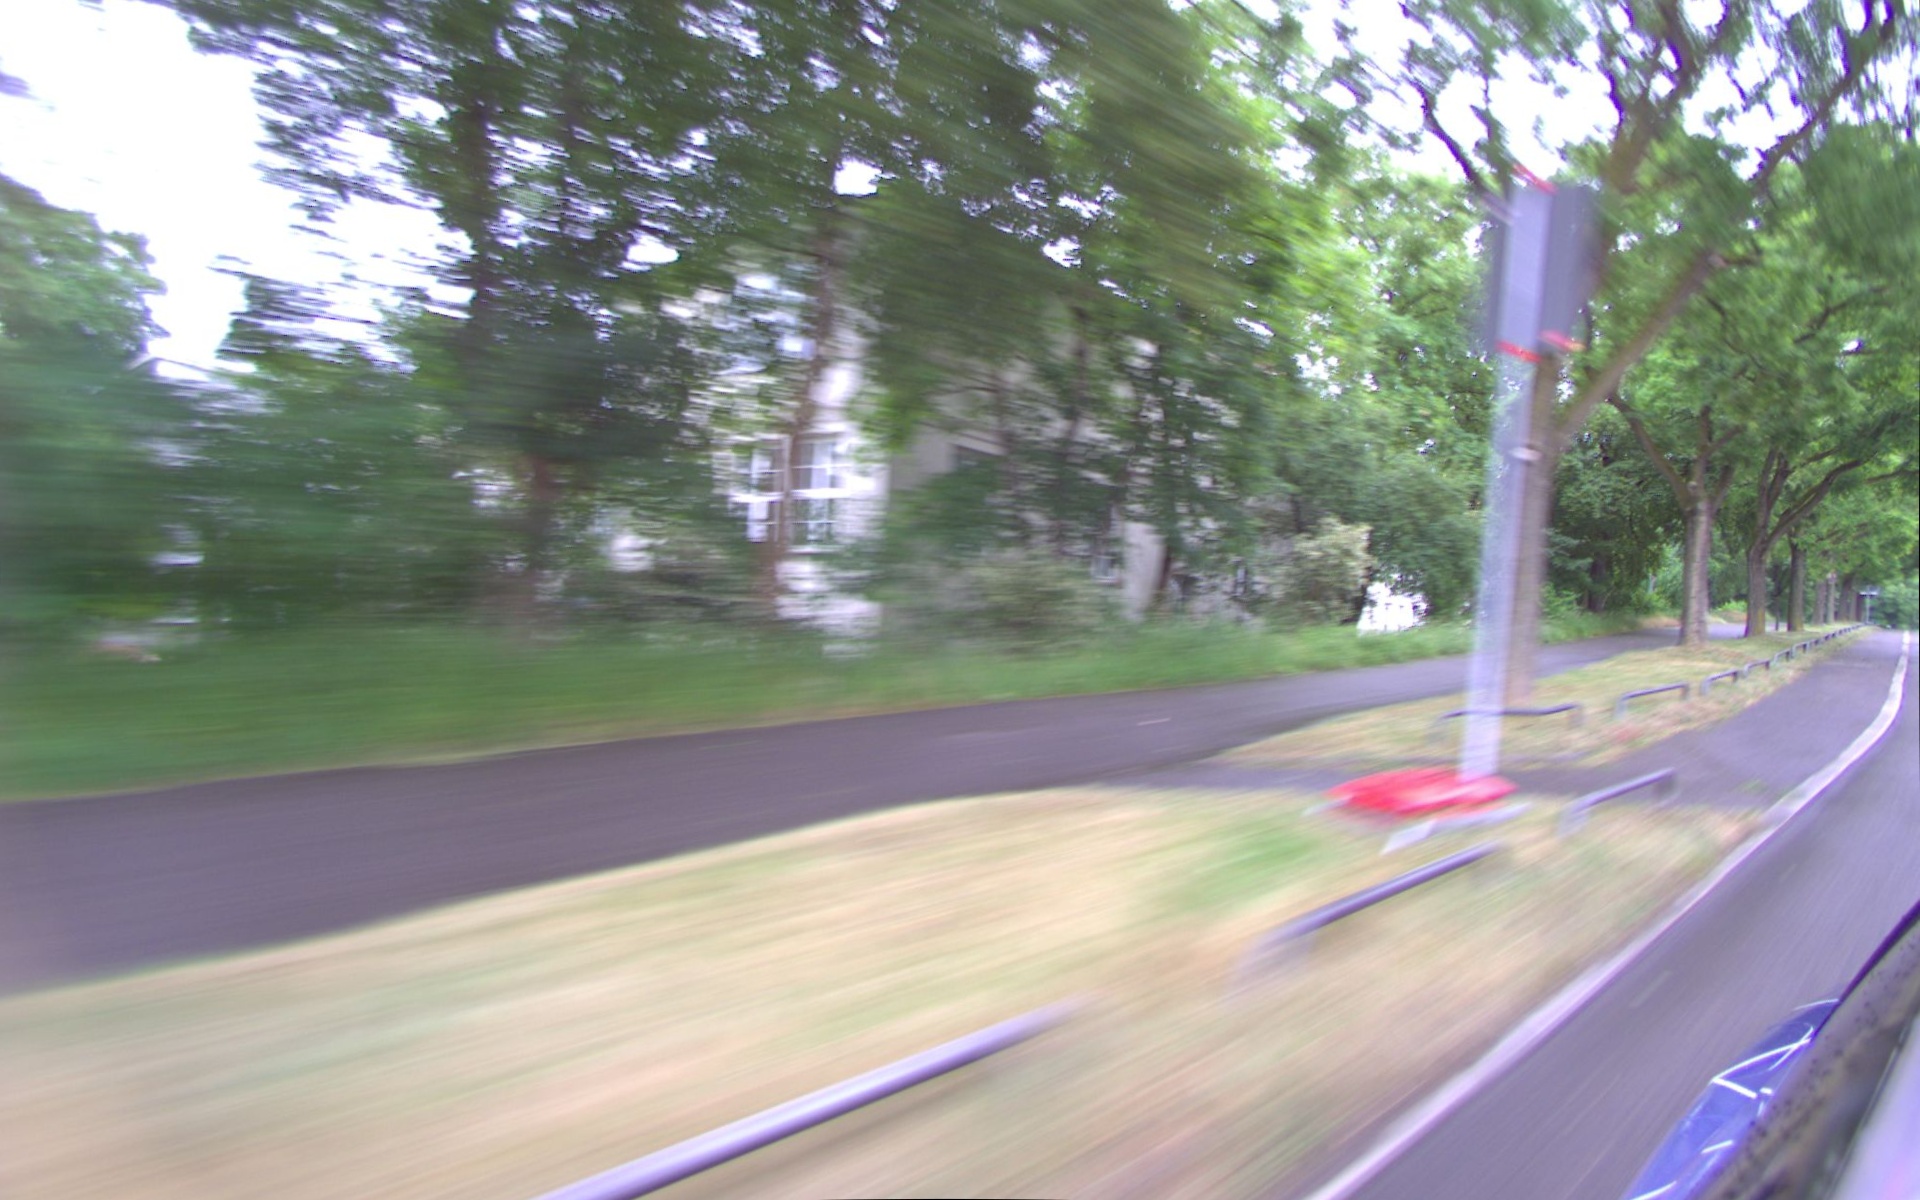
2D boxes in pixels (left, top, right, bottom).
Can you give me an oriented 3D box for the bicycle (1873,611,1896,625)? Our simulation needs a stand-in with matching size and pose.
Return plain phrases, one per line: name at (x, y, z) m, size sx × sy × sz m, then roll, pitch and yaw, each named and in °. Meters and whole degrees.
bicycle at (86.156, 1.696, 94.310) m, size 1.483 × 1.145 × 0.549 m, roll 6°, pitch 2°, yaw 38°
